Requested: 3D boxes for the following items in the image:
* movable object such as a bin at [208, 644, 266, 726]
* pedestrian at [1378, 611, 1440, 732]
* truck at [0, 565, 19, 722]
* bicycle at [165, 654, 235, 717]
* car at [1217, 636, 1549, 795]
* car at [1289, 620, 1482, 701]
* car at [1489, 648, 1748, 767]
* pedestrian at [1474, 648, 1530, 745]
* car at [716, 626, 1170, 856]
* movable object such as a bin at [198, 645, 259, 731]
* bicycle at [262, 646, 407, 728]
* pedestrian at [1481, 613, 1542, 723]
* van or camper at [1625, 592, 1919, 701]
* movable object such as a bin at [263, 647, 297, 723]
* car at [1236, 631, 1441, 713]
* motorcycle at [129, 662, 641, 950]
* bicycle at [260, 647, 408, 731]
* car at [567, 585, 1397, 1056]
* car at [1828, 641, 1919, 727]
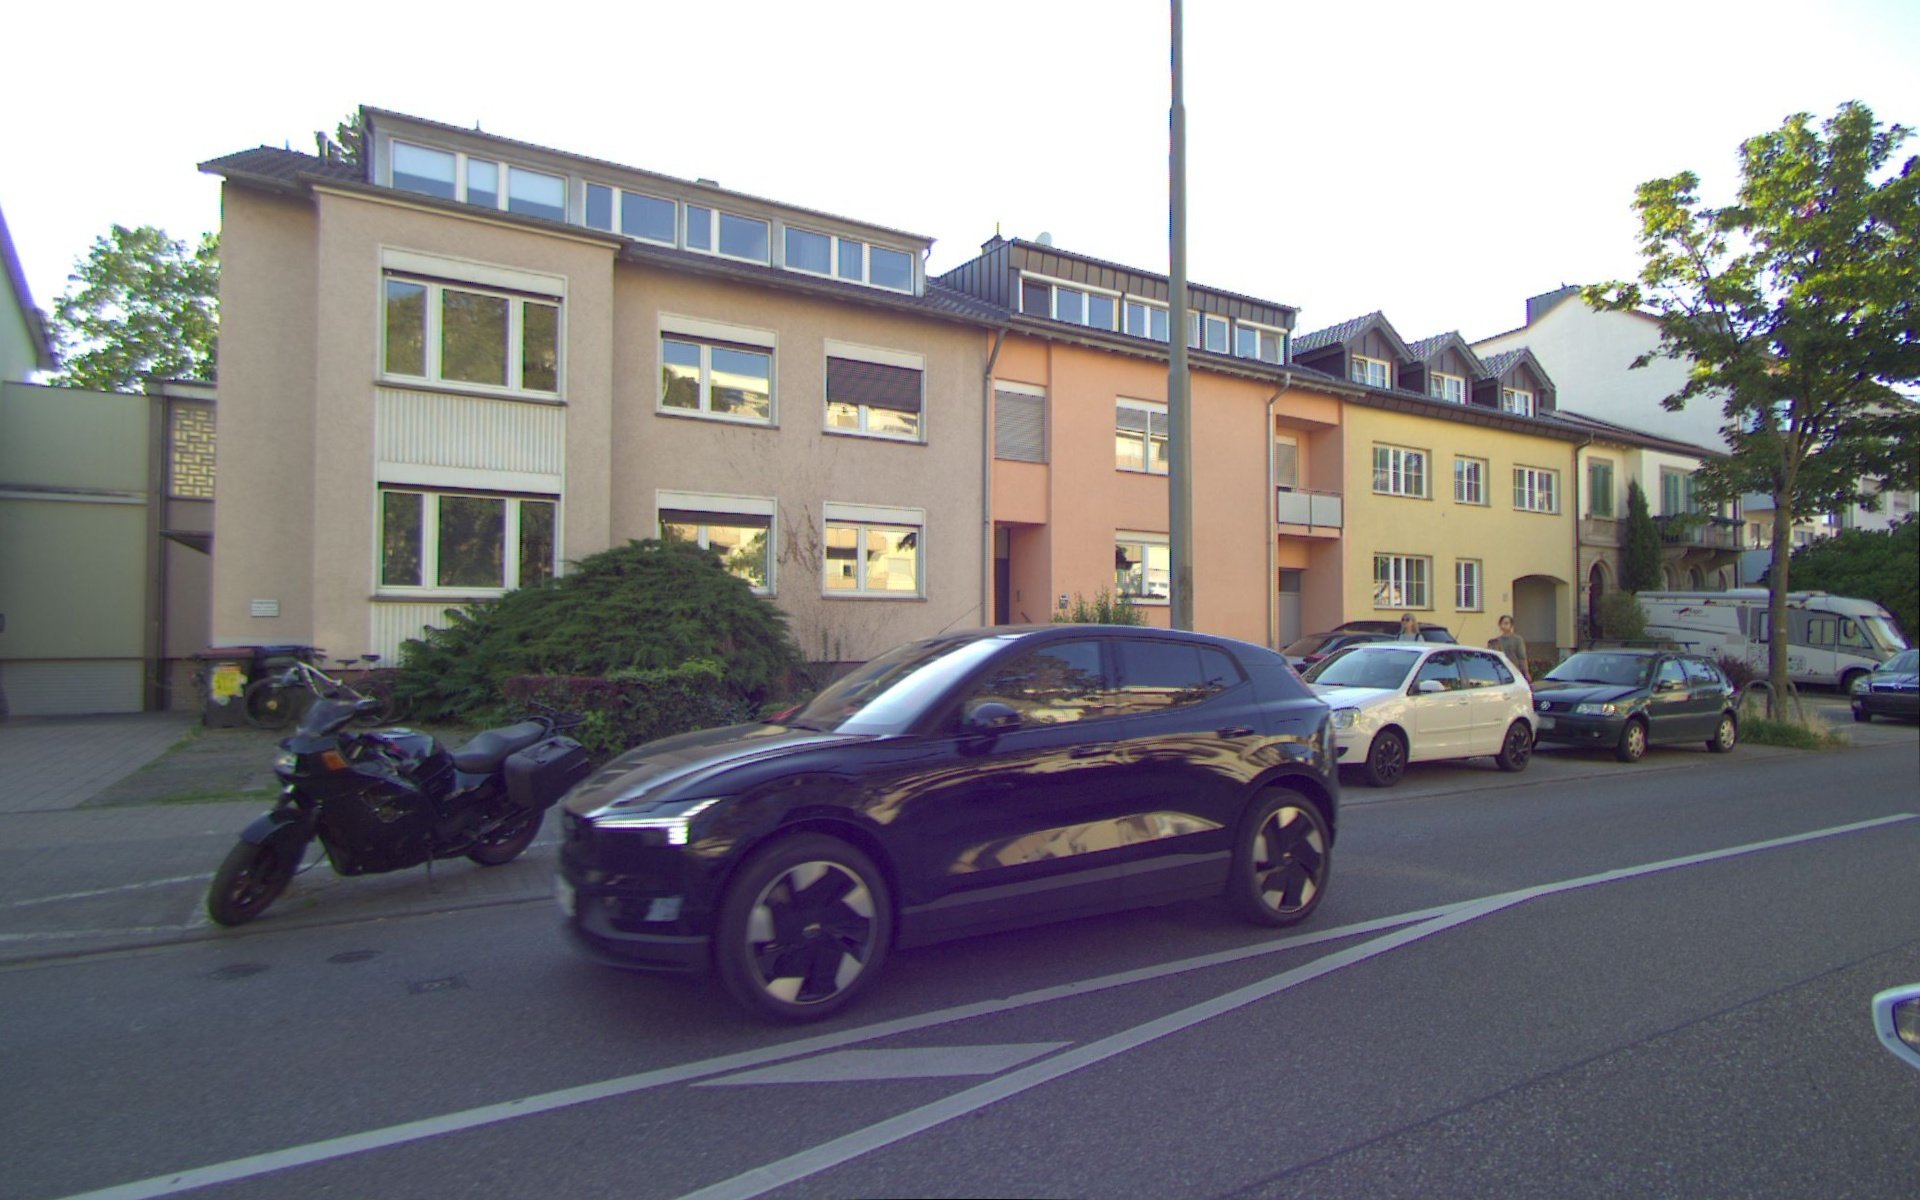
[{"bbox_3d":[-10.019,1.159,13.933,0.579,1.104,0.486,1,-2,-30],"label":"movable object such as a bin"},{"bbox_3d":[6.943,1.088,15.547,0.499,1.816,0.711,1,-2,-27],"label":"pedestrian"},{"bbox_3d":[-13.122,0.507,11.155,2.249,2.213,6.864,2,-2,-29],"label":"truck"},{"bbox_3d":[-12.028,1.356,15.937,0.582,0.942,1.590,1,-5,-27],"label":"bicycle"},{"bbox_3d":[4.918,1.209,11.551,3.847,1.543,1.585,2,-2,-31],"label":"car"},{"bbox_3d":[10.069,1.366,24.046,1.843,1.657,3.970,1,0,-28],"label":"car"},{"bbox_3d":[9.064,1.386,13.786,3.623,1.415,1.536,2,-2,-30],"label":"car"},{"bbox_3d":[8.743,1.531,16.201,0.535,1.515,0.588,1,-2,-27],"label":"pedestrian"},{"bbox_3d":[-0.115,1.008,8.244,3.392,1.543,1.587,2,-2,-27],"label":"car"},{"bbox_3d":[-9.719,1.157,13.364,0.579,1.104,0.486,1,-2,-30],"label":"movable object such as a bin"},{"bbox_3d":[-8.771,1.204,14.146,1.691,1.100,0.331,2,-2,-31],"label":"bicycle"},{"bbox_3d":[9.403,1.145,17.134,0.564,1.816,0.711,1,-2,-27],"label":"pedestrian"},{"bbox_3d":[24.037,1.234,29.860,2.324,2.810,6.764,2,0,-30],"label":"van or camper"},{"bbox_3d":[-9.618,1.187,14.220,0.345,1.051,0.433,1,-2,-30],"label":"movable object such as a bin"},{"bbox_3d":[7.241,1.342,19.187,3.706,1.427,1.658,1,-3,-29],"label":"car"},{"bbox_3d":[-3.254,1.034,5.966,1.164,1.282,2.362,-1,-3,36],"label":"motorcycle"},{"bbox_3d":[-8.586,1.206,13.841,1.691,1.100,0.331,2,-2,-31],"label":"bicycle"},{"bbox_3d":[0.201,0.867,5.237,3.954,1.590,1.827,2,-4,-30],"label":"car"},{"bbox_3d":[19.193,1.614,19.752,4.463,1.514,1.859,2,-1,-30],"label":"car"}]
